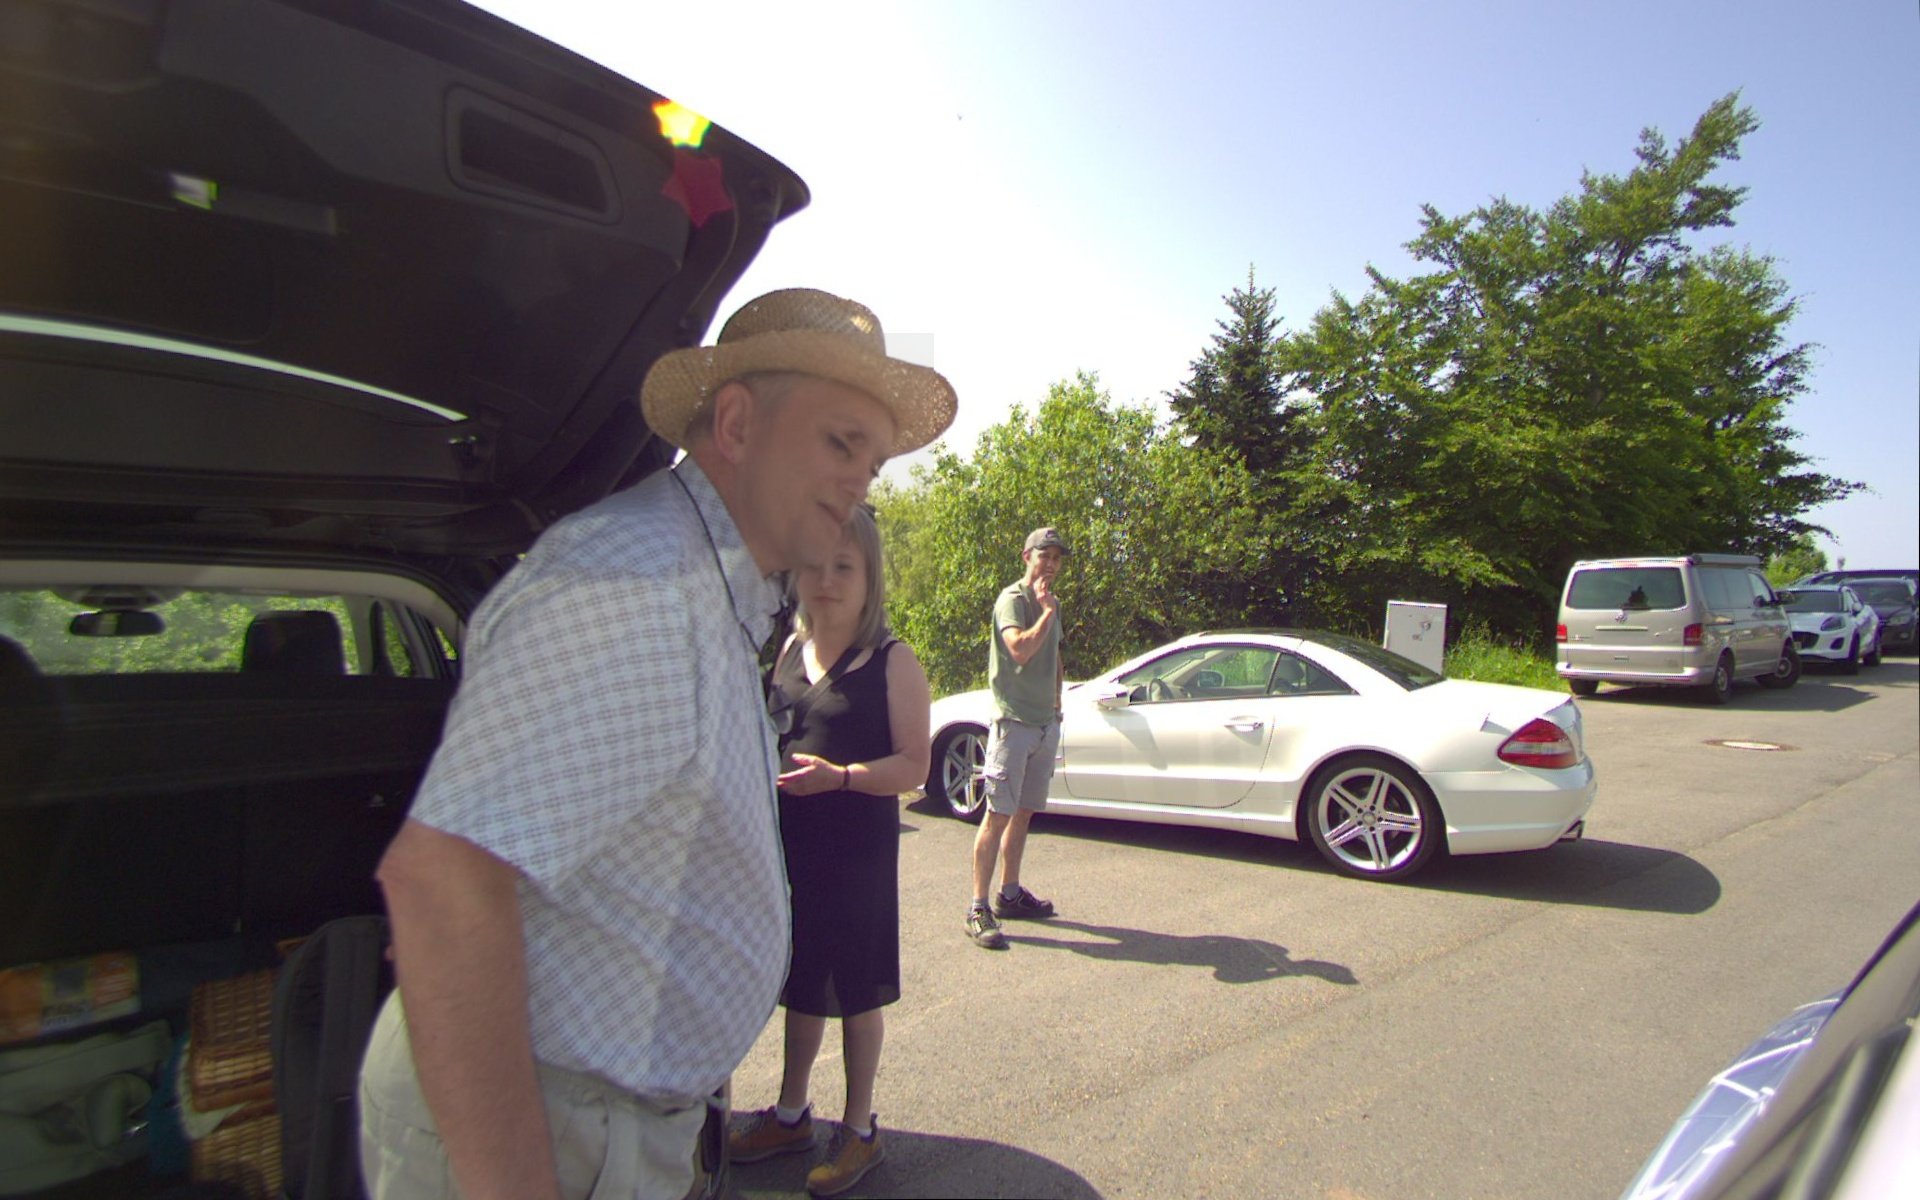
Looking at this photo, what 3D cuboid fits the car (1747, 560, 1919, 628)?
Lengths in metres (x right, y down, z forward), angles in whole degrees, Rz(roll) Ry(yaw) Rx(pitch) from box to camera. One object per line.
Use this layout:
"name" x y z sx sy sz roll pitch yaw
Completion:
"car" 26.625 -0.175 30.423 4.424 1.949 1.856 -1 0 31

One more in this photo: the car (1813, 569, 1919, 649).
"car" 20.493 0.162 22.389 3.930 1.639 1.873 -1 0 -41

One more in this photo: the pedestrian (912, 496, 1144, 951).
"pedestrian" 0.309 0.485 4.580 0.734 1.822 0.736 0 1 44

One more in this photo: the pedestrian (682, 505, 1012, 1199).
"pedestrian" -0.308 0.603 2.633 0.527 1.633 0.715 -1 1 -41

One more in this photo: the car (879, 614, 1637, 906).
"car" 1.722 0.757 6.562 4.380 1.312 1.735 -1 -1 34

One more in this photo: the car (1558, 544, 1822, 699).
"car" 10.803 0.257 14.865 4.523 1.960 1.862 0 0 -37

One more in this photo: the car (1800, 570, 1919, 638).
"car" 23.755 0.094 25.295 3.967 1.639 1.856 -1 0 31

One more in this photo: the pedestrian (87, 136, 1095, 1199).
"pedestrian" -0.267 0.636 1.090 0.726 1.895 0.755 2 -1 11

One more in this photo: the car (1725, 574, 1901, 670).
"car" 15.709 0.342 18.585 3.930 1.567 1.873 -1 0 -41

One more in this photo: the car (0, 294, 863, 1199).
"car" -2.186 0.593 2.577 1.836 1.647 4.354 -1 0 -38
